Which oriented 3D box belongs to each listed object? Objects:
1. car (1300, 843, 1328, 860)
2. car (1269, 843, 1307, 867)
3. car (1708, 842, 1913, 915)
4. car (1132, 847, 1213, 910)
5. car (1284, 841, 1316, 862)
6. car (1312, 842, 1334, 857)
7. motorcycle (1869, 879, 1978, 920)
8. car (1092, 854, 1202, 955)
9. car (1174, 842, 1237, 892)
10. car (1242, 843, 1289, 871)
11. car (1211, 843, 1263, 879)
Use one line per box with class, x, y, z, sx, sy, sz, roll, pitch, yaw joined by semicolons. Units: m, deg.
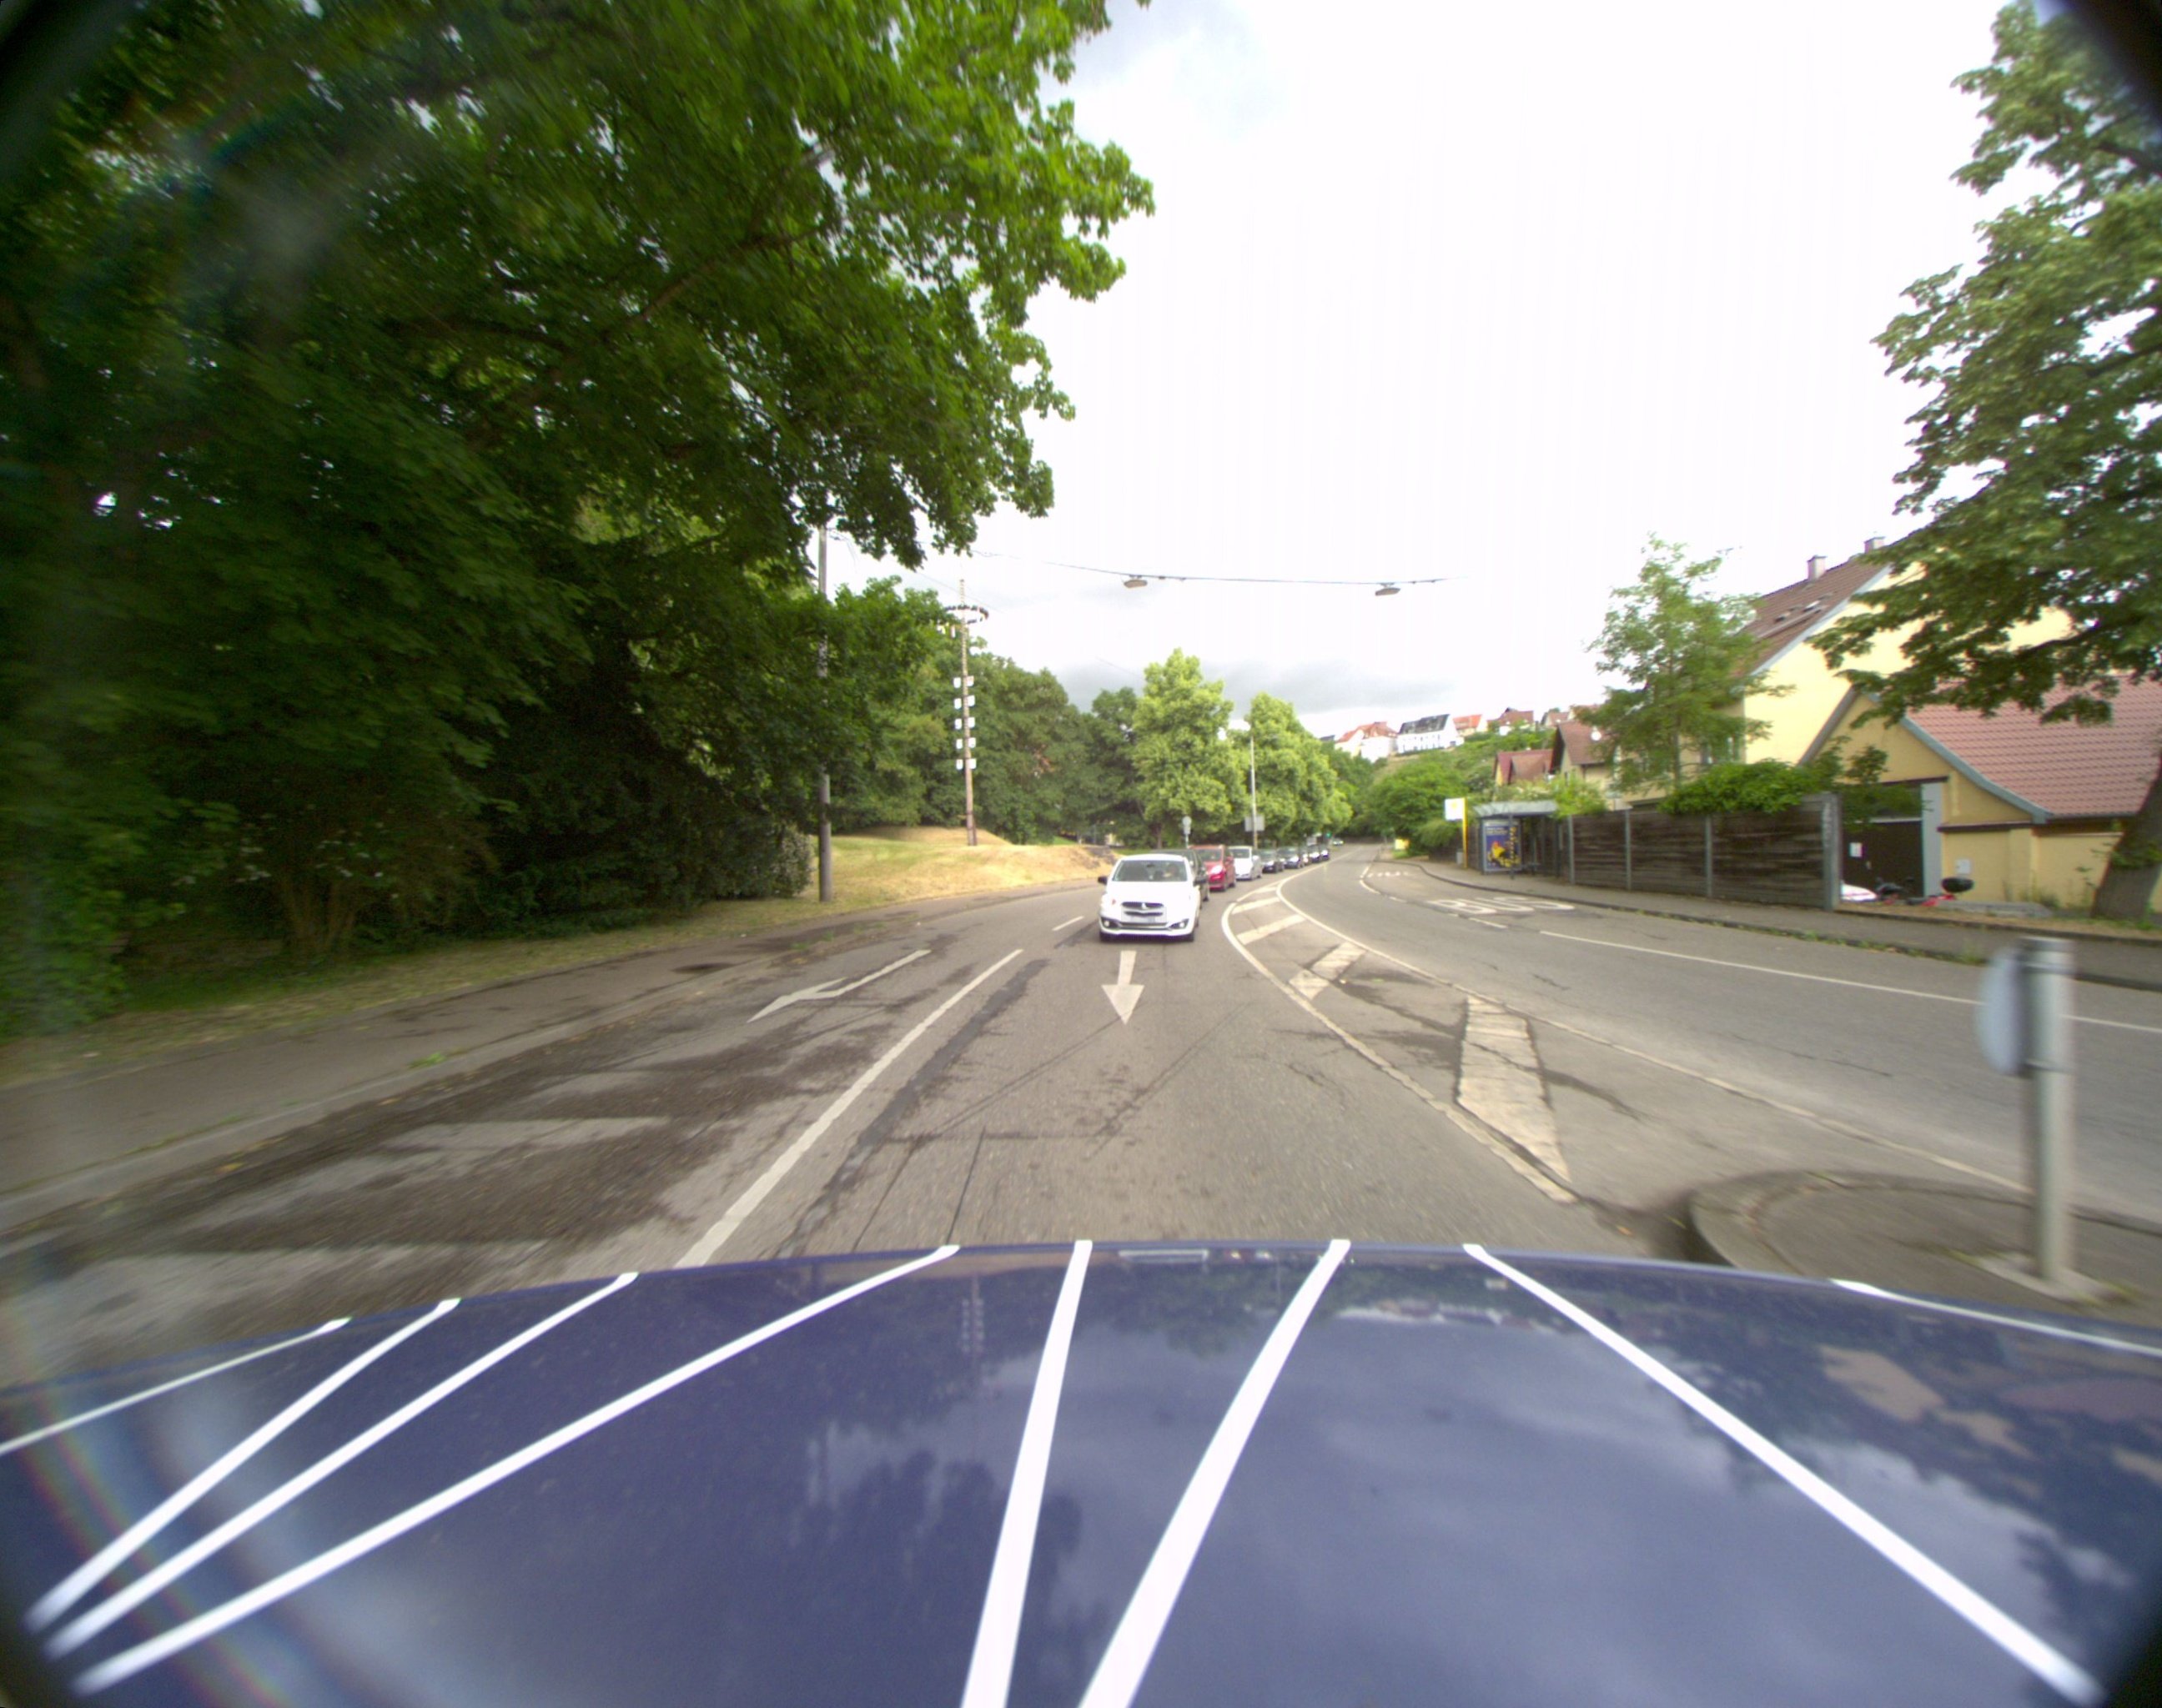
car;18.585;-0.222;60.599;1.641;1.262;3.631;-1;1;25
car;13.507;0.033;49.448;1.694;1.403;3.988;-1;1;25
car;18.378;0.543;19.441;1.898;1.618;4.002;-2;1;10
car;2.629;0.601;21.092;1.728;1.512;4.003;-1;1;14
car;16.046;-0.172;55.645;1.704;1.438;3.873;-1;1;24
car;21.286;-0.385;66.728;1.417;1.242;3.301;-1;1;25
motorcycle;17.564;0.947;15.858;1.581;0.819;0.419;-1;2;12
car;1.354;0.814;14.096;1.626;1.500;4.002;-1;1;10
car;4.591;0.415;27.533;1.673;1.632;4.105;-1;1;17
car;10.559;0.162;43.206;1.851;1.449;4.006;-1;1;25
car;7.281;0.287;35.257;1.780;1.560;4.005;-1;1;20
